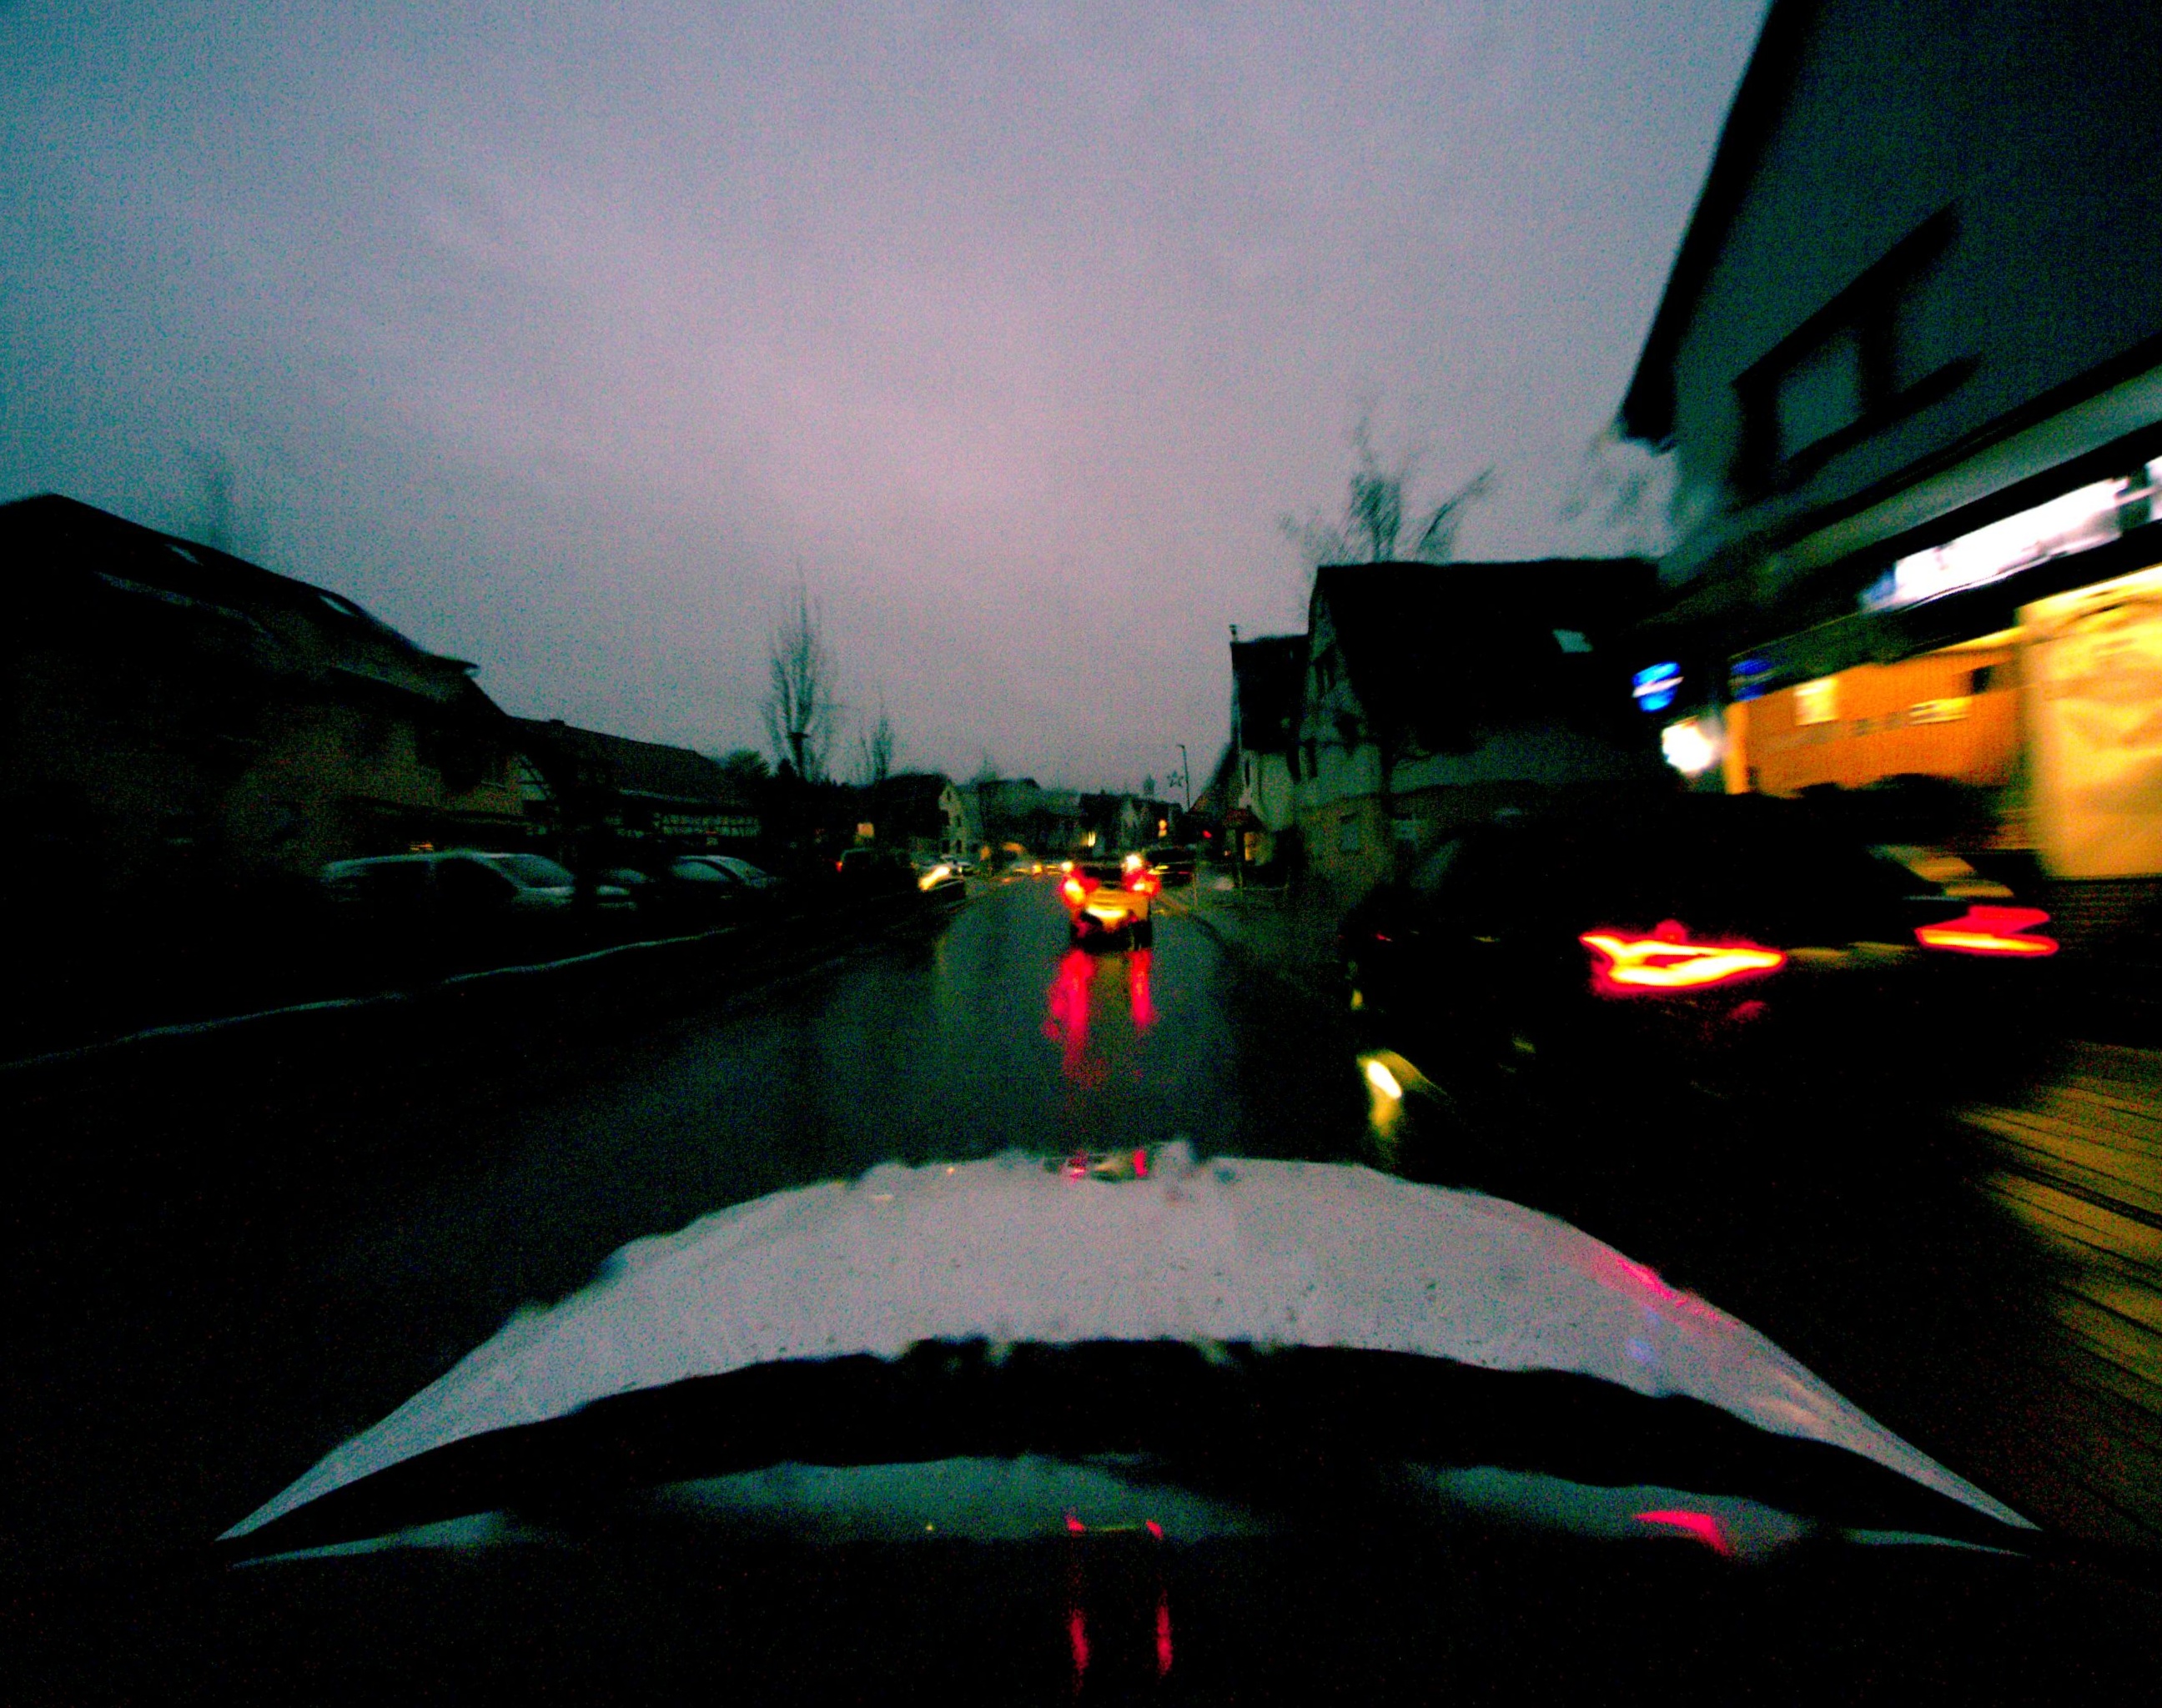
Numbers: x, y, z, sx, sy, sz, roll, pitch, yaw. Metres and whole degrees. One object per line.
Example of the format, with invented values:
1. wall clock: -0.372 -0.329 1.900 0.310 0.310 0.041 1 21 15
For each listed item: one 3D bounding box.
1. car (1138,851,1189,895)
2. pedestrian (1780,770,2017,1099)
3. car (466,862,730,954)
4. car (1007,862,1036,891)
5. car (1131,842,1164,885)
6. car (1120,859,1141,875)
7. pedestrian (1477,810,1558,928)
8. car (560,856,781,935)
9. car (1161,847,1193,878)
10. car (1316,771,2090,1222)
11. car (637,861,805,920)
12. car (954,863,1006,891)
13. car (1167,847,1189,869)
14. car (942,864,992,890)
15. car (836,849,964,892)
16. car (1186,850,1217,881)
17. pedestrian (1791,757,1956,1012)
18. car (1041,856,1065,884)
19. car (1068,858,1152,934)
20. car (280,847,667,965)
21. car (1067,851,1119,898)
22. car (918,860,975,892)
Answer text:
1. car: 3.702 0.863 37.247 1.990 1.865 4.084 -1 -1 1
2. pedestrian: 4.585 0.428 4.616 0.571 1.699 0.653 -3 -1 2
3. car: -9.267 1.016 15.798 4.177 1.652 1.682 -1 -1 5
4. car: -4.363 1.693 60.198 1.914 2.028 3.973 0 -3 -1
5. car: 3.998 0.654 49.704 1.863 2.469 4.445 0 -3 2
6. car: 5.189 1.371 85.116 1.476 1.527 3.427 -1 -3 15
7. pedestrian: 5.865 0.185 10.975 0.619 1.515 0.731 -1 1 -12
8. car: -9.146 0.909 18.326 4.147 1.644 1.661 -1 -1 5
9. car: 6.616 0.662 56.579 1.863 1.999 4.445 0 -3 2
10. car: 3.051 0.571 5.362 1.729 1.692 4.386 -2 -1 0
11. car: -9.178 0.926 20.937 3.527 1.447 1.712 0 -1 5
12. car: -8.308 1.928 67.106 2.011 2.167 4.331 3 -4 -45
13. car: 8.690 0.388 72.895 1.860 1.835 4.452 -1 -3 8
14. car: -8.988 1.879 64.141 1.833 1.976 4.117 3 -4 -45
15. car: -8.104 0.718 36.517 5.357 1.818 1.718 0 -1 14
16. car: 9.148 0.911 62.098 1.985 2.249 4.002 0 -3 3
17. pedestrian: 5.625 0.214 5.819 0.614 1.727 0.503 -1 -3 13
18. car: -2.340 1.377 67.990 1.914 2.216 3.973 0 -3 -1
19. car: 0.572 0.798 16.725 1.557 1.412 3.018 0 0 1
20. car: -9.462 0.775 13.038 4.612 1.667 1.999 -1 -1 -2
21. car: 0.503 0.722 29.991 1.759 1.628 3.588 0 0 3
22. car: -9.960 1.660 60.321 2.011 2.252 4.331 3 -4 -45
